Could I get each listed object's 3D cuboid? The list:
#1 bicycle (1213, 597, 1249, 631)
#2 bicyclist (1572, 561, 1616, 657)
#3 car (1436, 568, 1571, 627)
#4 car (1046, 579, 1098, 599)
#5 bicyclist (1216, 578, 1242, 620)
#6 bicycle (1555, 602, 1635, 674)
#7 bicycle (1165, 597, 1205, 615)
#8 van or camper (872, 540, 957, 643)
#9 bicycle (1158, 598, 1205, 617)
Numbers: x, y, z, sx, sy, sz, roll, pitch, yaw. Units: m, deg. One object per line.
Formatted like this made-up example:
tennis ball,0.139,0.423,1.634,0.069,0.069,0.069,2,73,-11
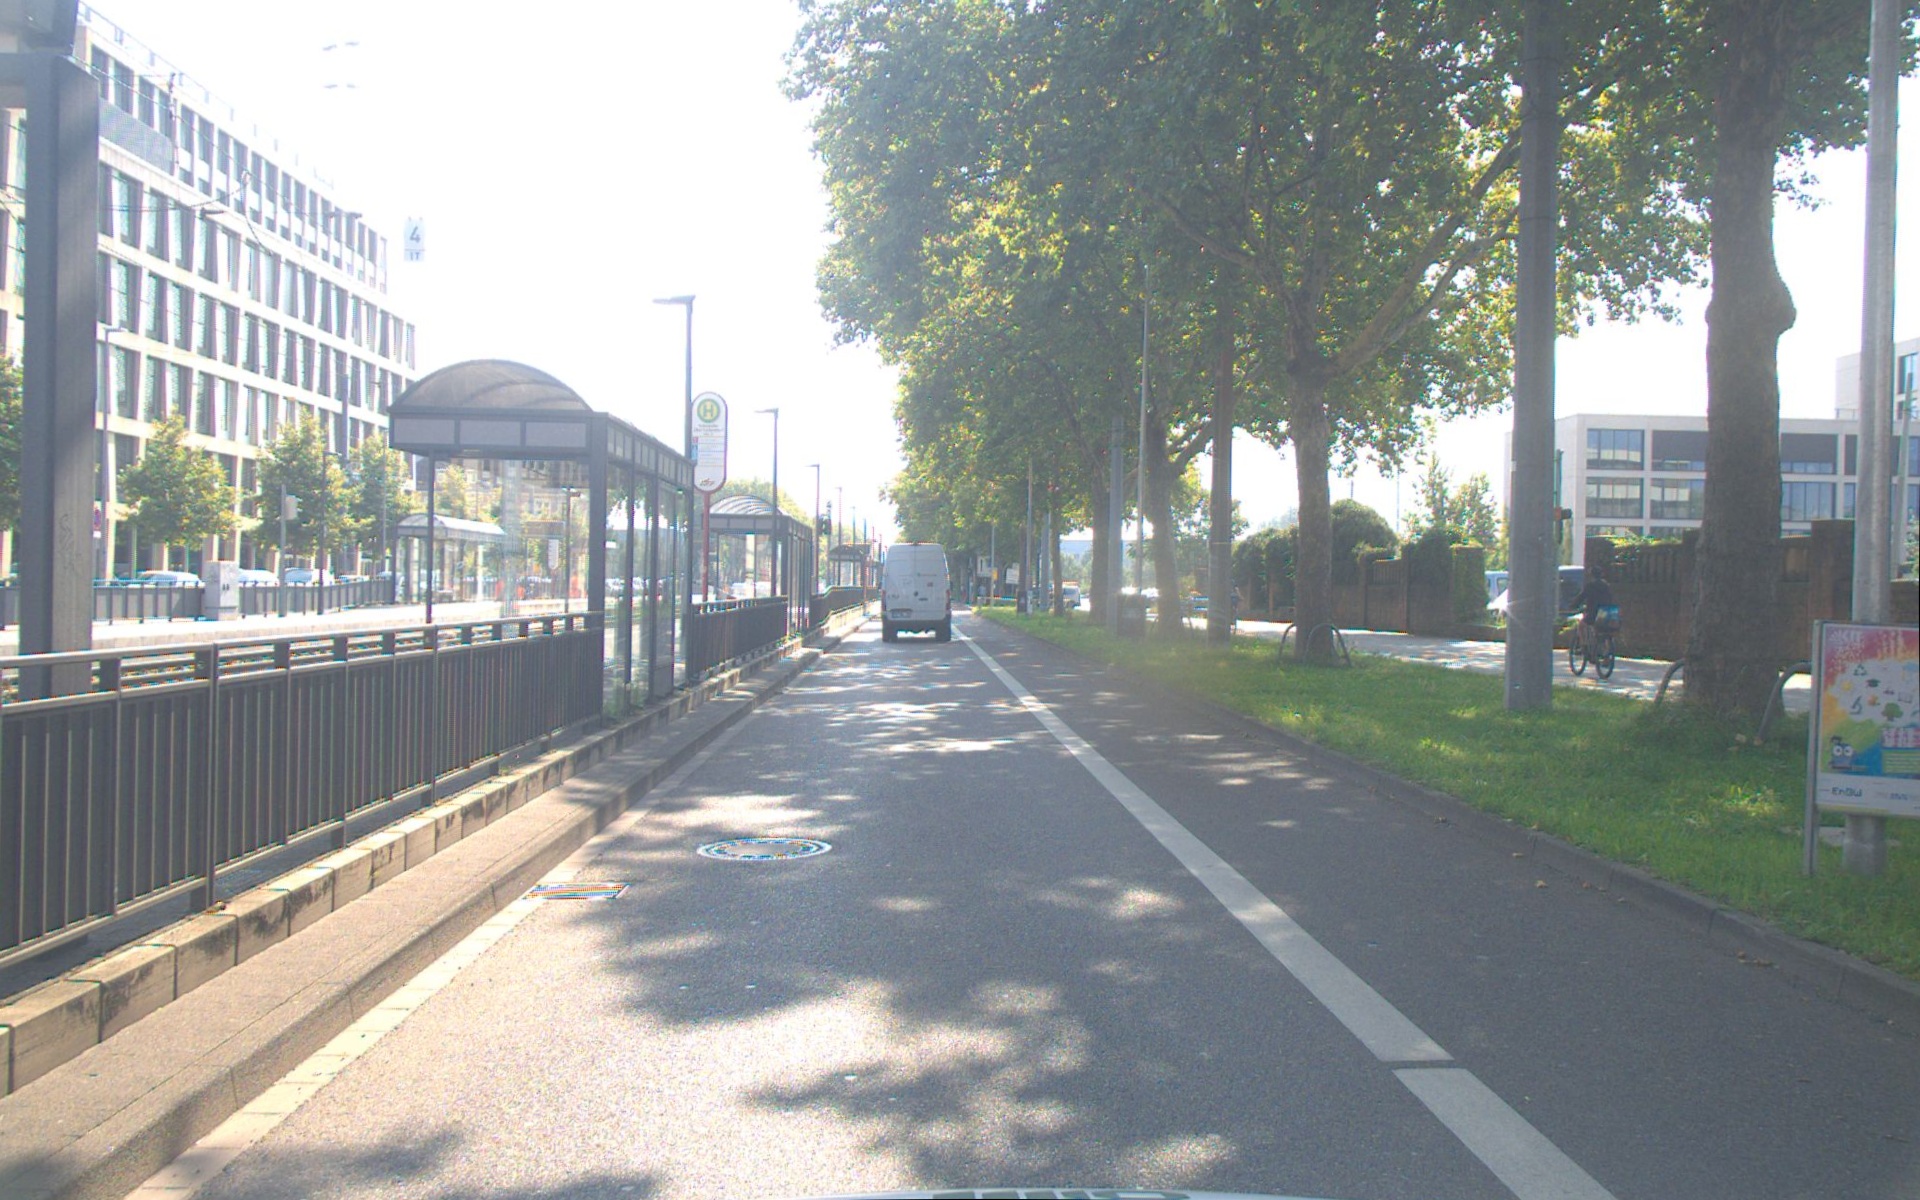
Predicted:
bicycle,8.450,0.427,51.696,0.668,1.022,2.217,0,1,-3
bicyclist,10.471,0.139,27.334,0.460,1.566,0.596,1,0,-5
car,17.795,-0.078,54.241,3.923,1.875,1.560,0,0,-4
car,8.910,-0.894,131.987,3.907,1.400,1.999,2,-1,-2
bicyclist,8.437,-0.029,51.843,0.656,1.298,0.728,0,0,-3
bicycle,10.472,0.608,27.335,0.481,1.108,1.856,1,1,-5
bicycle,11.143,0.308,81.859,1.893,0.861,0.372,0,0,-2
van or camper,-1.366,-0.262,47.292,2.074,2.728,5.245,-2,1,-5
bicycle,10.562,0.358,78.855,2.136,0.861,0.503,0,0,-2
